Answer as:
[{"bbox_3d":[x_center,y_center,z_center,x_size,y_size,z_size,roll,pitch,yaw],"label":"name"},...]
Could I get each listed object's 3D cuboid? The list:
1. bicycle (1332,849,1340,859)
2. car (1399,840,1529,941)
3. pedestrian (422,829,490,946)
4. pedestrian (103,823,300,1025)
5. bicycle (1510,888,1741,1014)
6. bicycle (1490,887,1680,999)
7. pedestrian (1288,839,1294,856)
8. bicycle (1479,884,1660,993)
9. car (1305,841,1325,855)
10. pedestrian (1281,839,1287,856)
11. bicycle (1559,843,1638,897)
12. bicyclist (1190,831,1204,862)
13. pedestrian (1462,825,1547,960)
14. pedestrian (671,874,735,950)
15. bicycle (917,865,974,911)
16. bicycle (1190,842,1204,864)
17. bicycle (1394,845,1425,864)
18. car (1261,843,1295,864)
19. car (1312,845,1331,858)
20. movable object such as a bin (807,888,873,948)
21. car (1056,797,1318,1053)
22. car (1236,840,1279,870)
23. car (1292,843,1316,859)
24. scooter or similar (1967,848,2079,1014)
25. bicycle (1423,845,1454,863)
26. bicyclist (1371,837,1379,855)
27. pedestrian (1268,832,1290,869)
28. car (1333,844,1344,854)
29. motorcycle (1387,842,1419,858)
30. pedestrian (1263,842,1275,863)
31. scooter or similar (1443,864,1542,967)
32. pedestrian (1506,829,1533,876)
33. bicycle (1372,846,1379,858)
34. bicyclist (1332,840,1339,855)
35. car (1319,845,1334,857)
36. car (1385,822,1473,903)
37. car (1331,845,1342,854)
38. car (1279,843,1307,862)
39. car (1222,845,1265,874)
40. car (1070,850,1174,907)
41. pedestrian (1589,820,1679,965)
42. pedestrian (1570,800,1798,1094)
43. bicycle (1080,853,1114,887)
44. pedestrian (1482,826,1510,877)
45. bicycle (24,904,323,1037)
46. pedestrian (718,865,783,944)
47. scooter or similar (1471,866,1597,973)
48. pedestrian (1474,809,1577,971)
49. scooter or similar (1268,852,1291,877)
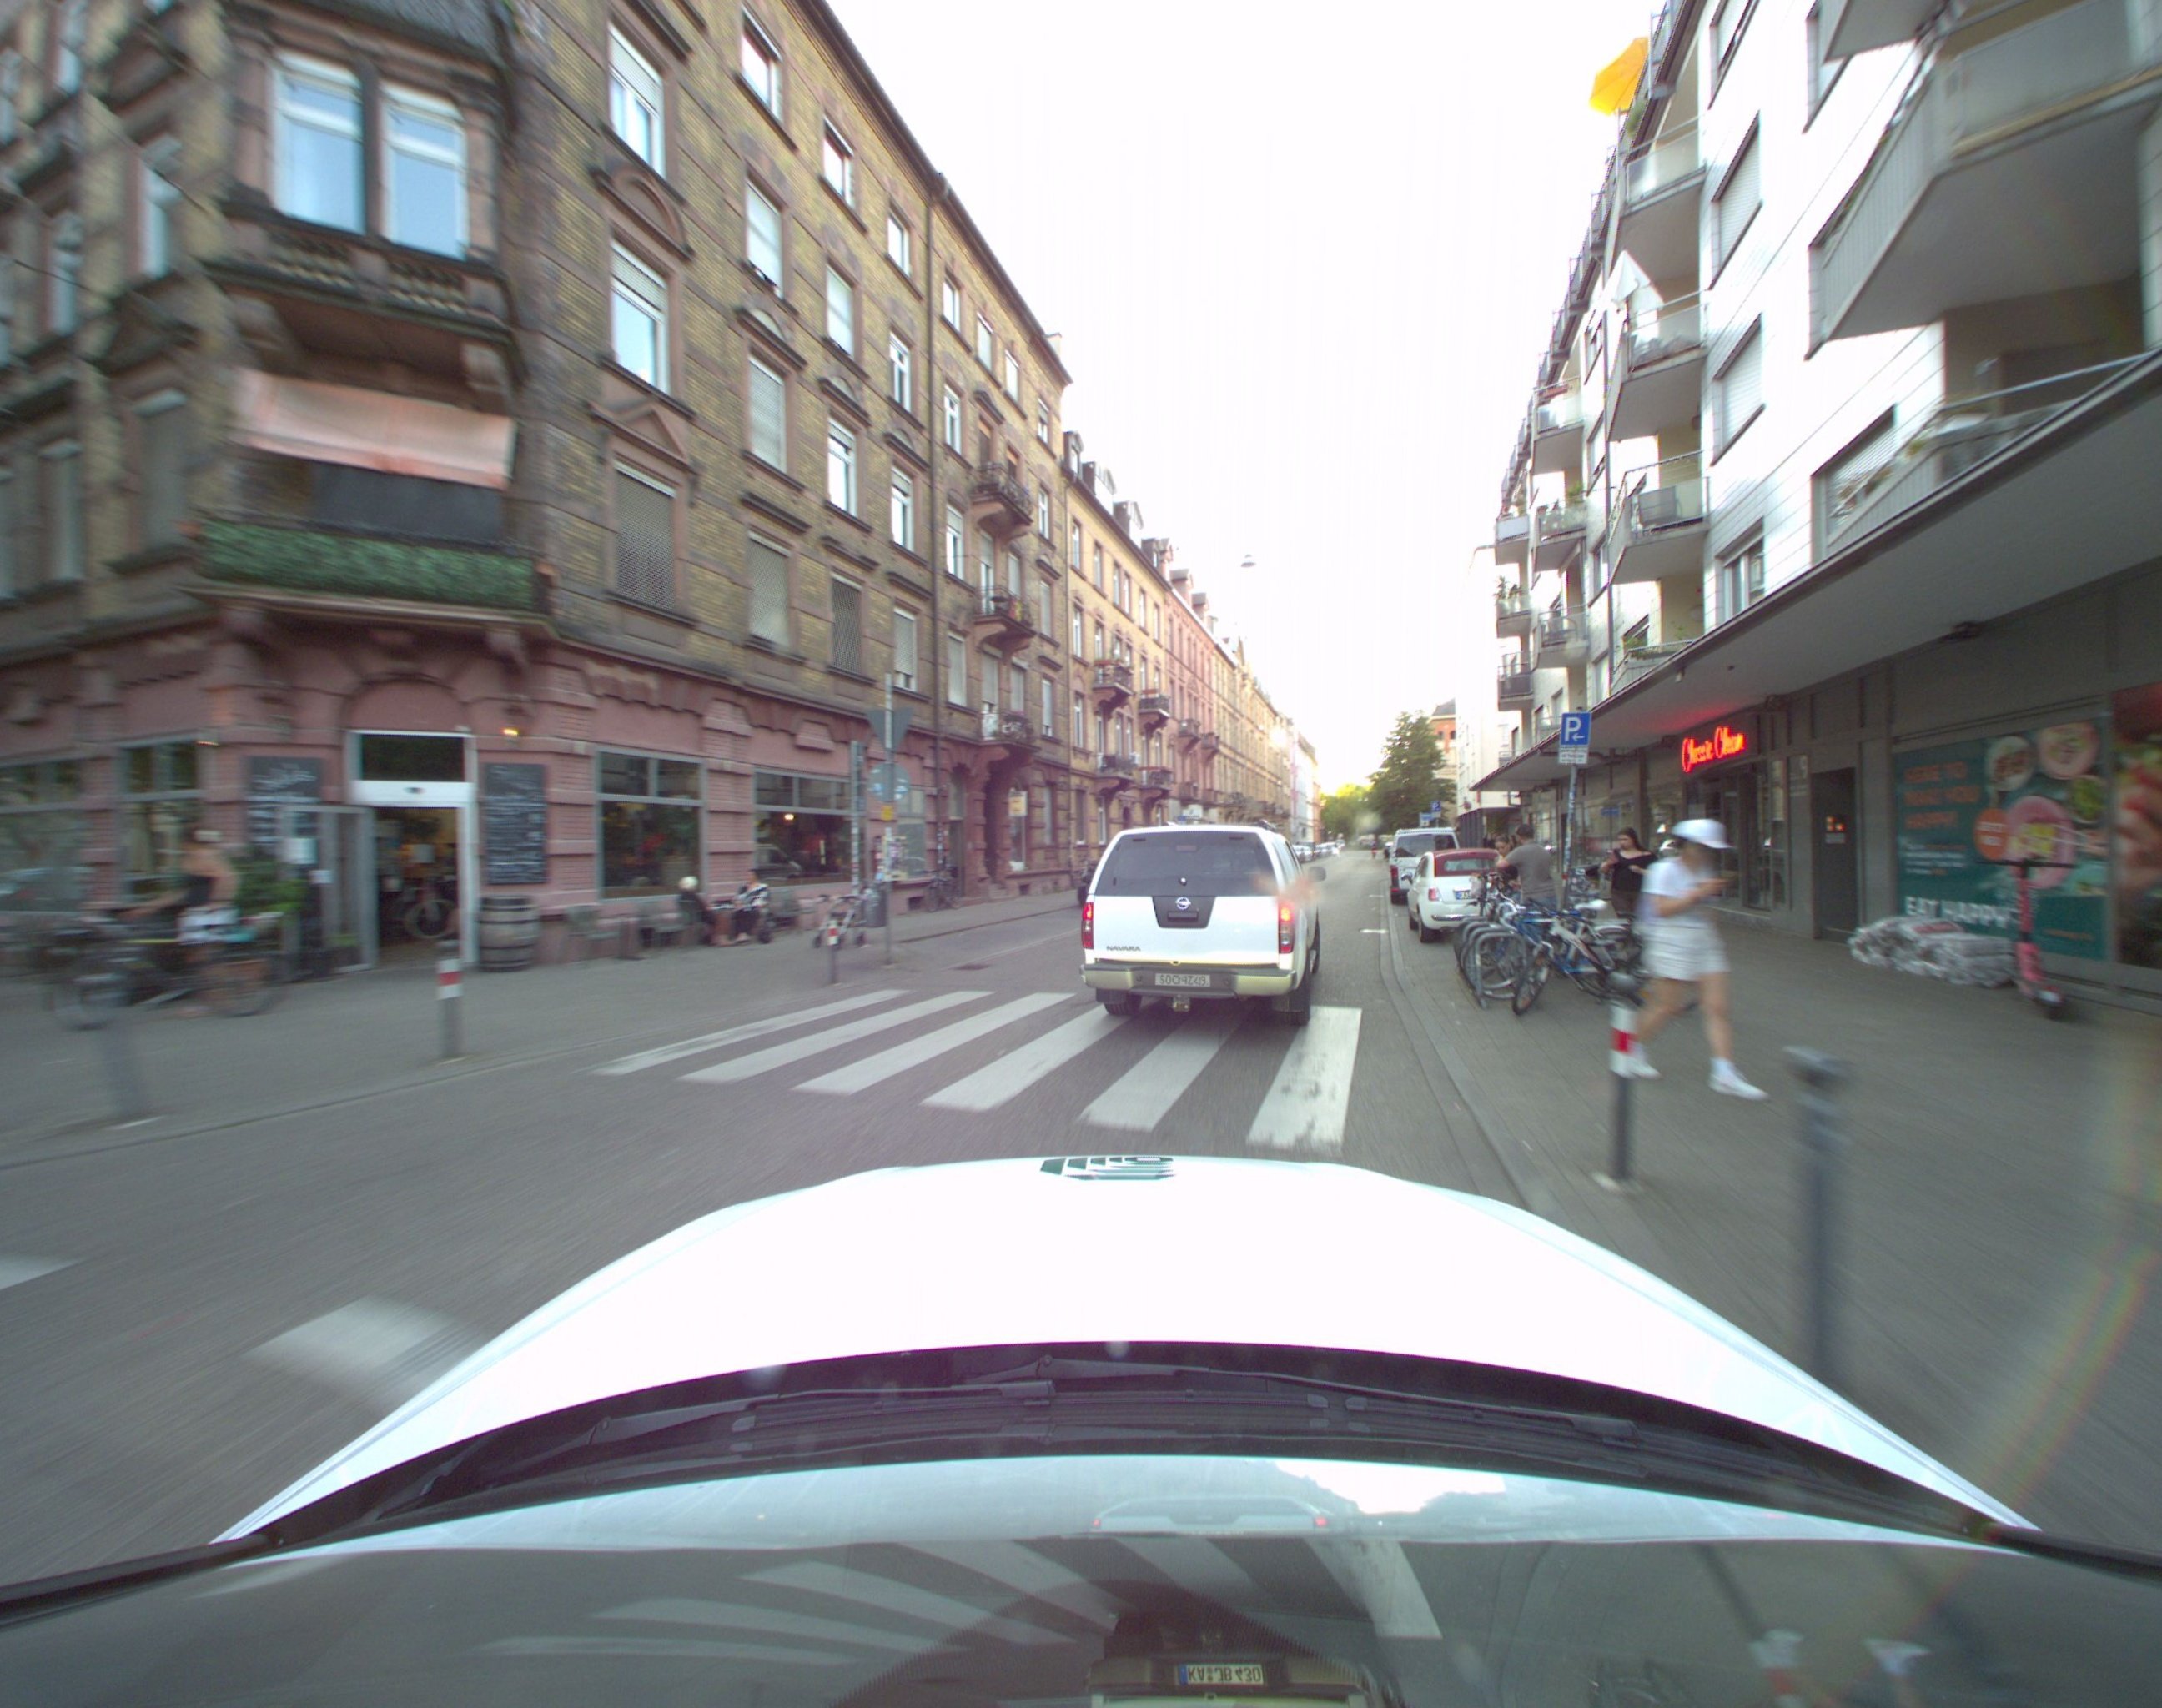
[{"bbox_3d":[28.612,-0.009,91.377,0.640,1.081,2.177,-3,0,15],"label":"bicycle"},{"bbox_3d":[6.535,0.563,14.199,1.579,1.501,3.440,-3,0,18],"label":"car"},{"bbox_3d":[-9.478,0.488,12.375,0.666,1.695,0.652,-1,4,-26],"label":"pedestrian"},{"bbox_3d":[-8.611,0.629,8.033,1.022,1.854,0.720,-2,2,-20],"label":"pedestrian"},{"bbox_3d":[4.650,0.833,7.055,1.535,1.001,0.513,-3,-1,17],"label":"bicycle"},{"bbox_3d":[4.720,0.839,7.716,1.406,0.984,0.513,-3,-1,17],"label":"bicycle"},{"bbox_3d":[22.342,-0.690,86.693,0.600,1.772,0.781,2,2,16],"label":"pedestrian"},{"bbox_3d":[4.847,0.838,8.177,1.465,1.002,0.514,-3,-2,27],"label":"bicycle"},{"bbox_3d":[25.077,-0.637,87.095,1.722,1.418,4.802,1,0,20],"label":"car"},{"bbox_3d":[21.613,-0.701,86.702,0.575,1.771,1.002,2,2,16],"label":"pedestrian"},{"bbox_3d":[12.463,0.369,19.687,0.905,1.196,1.715,-3,-1,7],"label":"bicycle"},{"bbox_3d":[6.547,-0.407,45.921,0.704,1.729,0.844,0,-1,5],"label":"bicyclist"},{"bbox_3d":[5.248,0.460,10.108,0.647,1.600,0.588,-2,-1,-20],"label":"pedestrian"},{"bbox_3d":[-5.990,0.900,12.930,0.499,1.143,0.795,-1,-1,22],"label":"pedestrian"},{"bbox_3d":[-3.405,0.841,20.605,0.421,1.053,1.909,-1,0,24],"label":"bicycle"},{"bbox_3d":[6.543,-0.032,45.888,0.704,1.196,1.744,0,-1,5],"label":"bicycle"},{"bbox_3d":[20.739,0.049,51.471,1.708,1.118,0.710,-3,-1,19],"label":"bicycle"},{"bbox_3d":[13.948,-0.050,57.464,1.743,1.411,4.532,0,1,20],"label":"car"},{"bbox_3d":[28.313,-0.265,95.870,1.819,1.457,4.228,2,1,21],"label":"car"},{"bbox_3d":[-3.937,1.035,13.357,0.755,0.916,0.733,0,-1,17],"label":"movable object such as a bin"},{"bbox_3d":[1.494,0.497,8.713,1.896,1.853,5.294,0,0,17],"label":"car"},{"bbox_3d":[10.385,0.029,47.699,1.837,1.633,4.469,0,1,20],"label":"car"},{"bbox_3d":[20.074,-0.282,73.254,1.769,1.422,4.507,1,1,19],"label":"car"},{"bbox_3d":[7.614,0.570,6.615,1.170,1.203,0.530,-2,1,-43],"label":"scooter or similar"},{"bbox_3d":[22.206,0.003,50.649,1.707,1.054,0.657,-3,-1,24],"label":"bicycle"},{"bbox_3d":[29.196,-0.751,80.834,0.639,1.760,0.651,-3,0,18],"label":"bicyclist"},{"bbox_3d":[8.937,-0.166,36.723,0.800,1.660,0.676,-2,0,20],"label":"pedestrian"},{"bbox_3d":[43.341,-0.887,137.148,1.685,1.552,4.041,1,1,18],"label":"car"},{"bbox_3d":[23.638,-0.284,59.880,2.048,1.078,0.665,-3,-1,5],"label":"motorcycle"},{"bbox_3d":[15.940,-0.120,69.031,0.548,1.755,1.029,-1,-1,38],"label":"pedestrian"},{"bbox_3d":[5.235,0.747,10.350,1.167,1.171,0.532,-4,2,-30],"label":"scooter or similar"},{"bbox_3d":[15.964,-0.052,29.627,0.701,1.665,0.749,-3,-2,35],"label":"pedestrian"},{"bbox_3d":[29.211,-0.206,80.810,0.639,1.081,1.841,-3,0,19],"label":"bicycle"},{"bbox_3d":[28.582,-0.689,91.393,0.640,1.621,0.922,-3,0,15],"label":"bicyclist"},{"bbox_3d":[31.671,-0.434,104.906,1.622,1.565,3.800,0,1,20],"label":"car"},{"bbox_3d":[9.704,0.175,22.997,1.942,1.973,5.029,-3,0,21],"label":"car"},{"bbox_3d":[41.308,-0.737,131.544,1.685,1.426,4.041,1,1,18],"label":"car"},{"bbox_3d":[17.267,-0.178,66.151,1.702,1.457,4.022,1,1,22],"label":"car"},{"bbox_3d":[8.506,0.269,42.437,1.571,1.420,3.716,0,1,21],"label":"car"},{"bbox_3d":[1.250,0.634,23.105,1.678,1.420,3.876,0,1,23],"label":"car"},{"bbox_3d":[6.538,0.439,9.628,0.566,1.631,0.718,-3,0,-45],"label":"pedestrian"},{"bbox_3d":[3.758,0.536,5.153,0.660,1.651,0.882,-4,-1,-3],"label":"pedestrian"},{"bbox_3d":[0.637,0.589,31.026,0.522,1.171,2.059,1,1,24],"label":"bicycle"},{"bbox_3d":[15.377,-0.099,30.164,0.701,1.828,0.866,-3,-2,36],"label":"pedestrian"},{"bbox_3d":[-8.509,1.059,7.734,1.775,1.025,0.609,-2,2,-20],"label":"bicycle"},{"bbox_3d":[-5.609,0.839,13.862,0.645,1.254,0.910,2,1,5],"label":"pedestrian"},{"bbox_3d":[5.267,0.759,9.519,1.152,1.171,0.539,-3,1,13],"label":"scooter or similar"},{"bbox_3d":[5.076,0.402,9.332,0.733,1.756,0.663,-3,-1,-1],"label":"pedestrian"},{"bbox_3d":[8.959,0.467,36.724,0.800,1.104,1.178,-2,0,21],"label":"scooter or similar"}]
